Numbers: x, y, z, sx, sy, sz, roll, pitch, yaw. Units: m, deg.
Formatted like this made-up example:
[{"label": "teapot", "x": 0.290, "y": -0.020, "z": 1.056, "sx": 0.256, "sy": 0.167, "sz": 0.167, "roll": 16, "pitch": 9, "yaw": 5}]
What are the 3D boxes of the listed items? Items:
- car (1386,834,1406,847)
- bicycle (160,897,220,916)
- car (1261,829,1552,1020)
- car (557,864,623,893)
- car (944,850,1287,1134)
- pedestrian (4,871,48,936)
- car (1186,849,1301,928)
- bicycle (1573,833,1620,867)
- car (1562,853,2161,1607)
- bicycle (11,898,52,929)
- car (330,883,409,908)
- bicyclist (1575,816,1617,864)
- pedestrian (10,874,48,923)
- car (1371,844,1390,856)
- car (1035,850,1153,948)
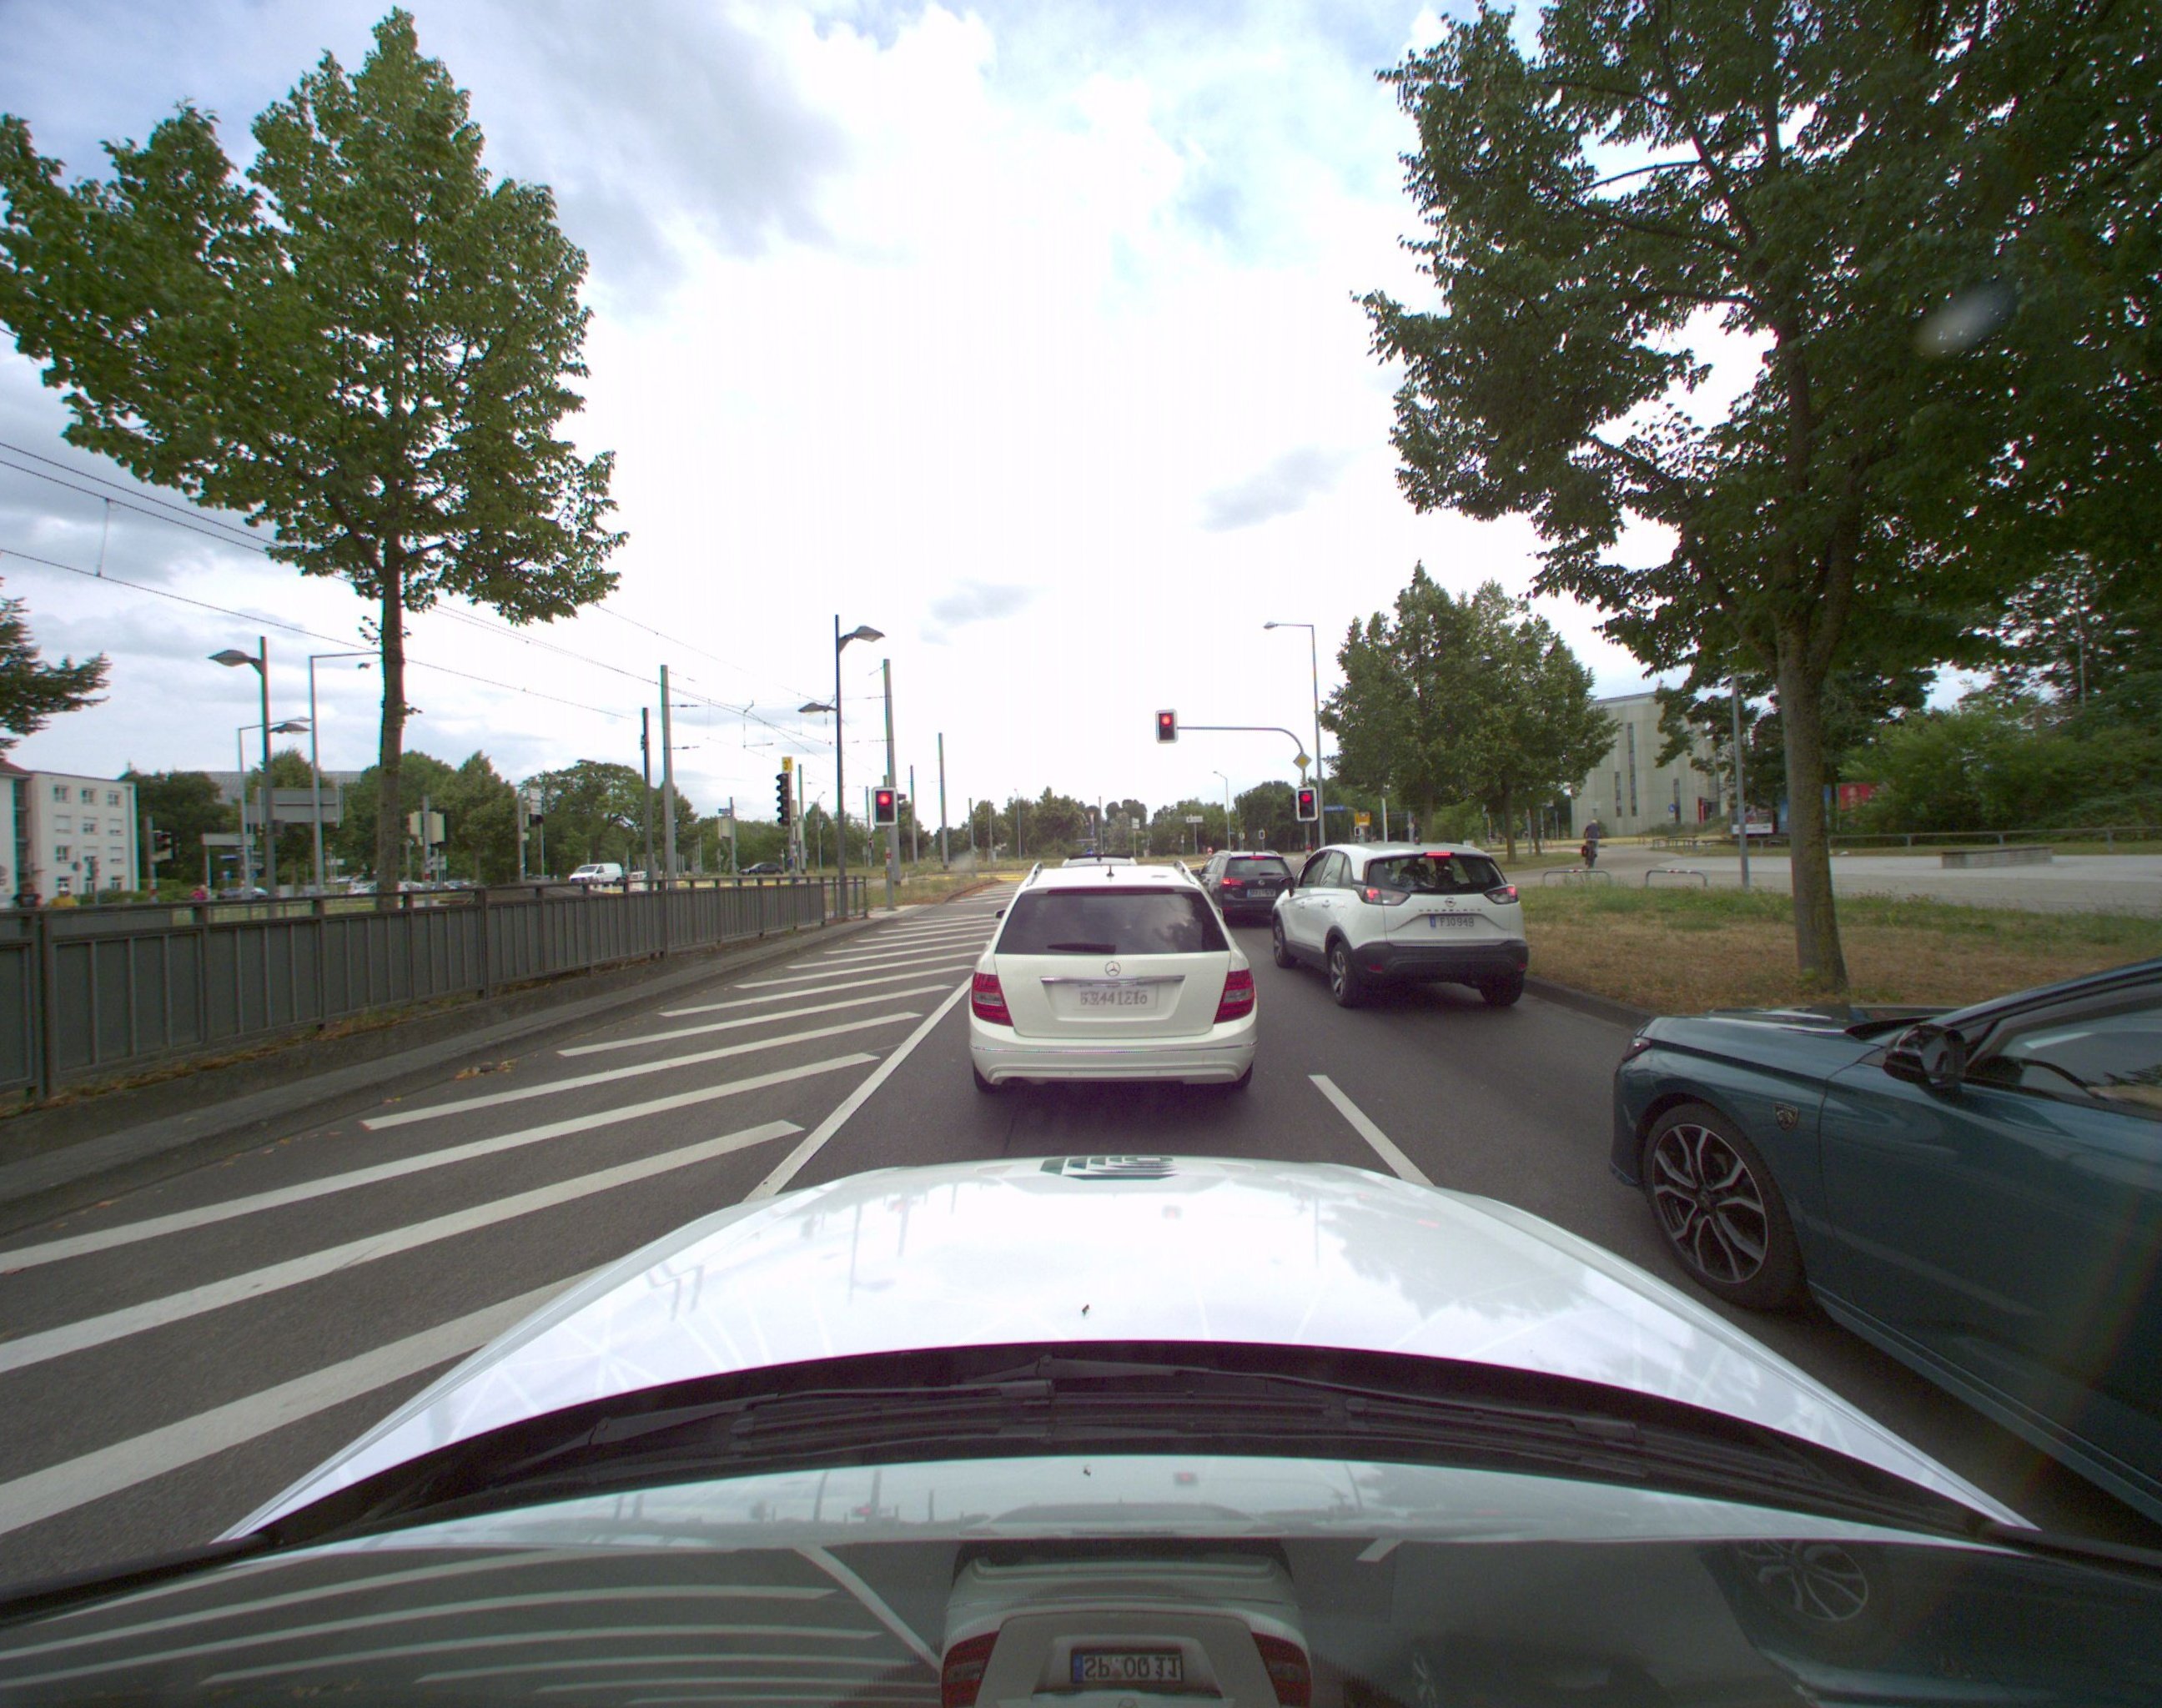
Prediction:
[{"label": "car", "x": 43.052, "y": -1.814, "z": 111.195, "sx": 1.766, "sy": 1.636, "sz": 4.430, "roll": -2, "pitch": 0, "yaw": 30}, {"label": "bicycle", "x": -60.912, "y": 3.595, "z": 55.684, "sx": 2.706, "sy": 1.129, "sz": 0.804, "roll": -2, "pitch": 0, "yaw": -17}, {"label": "car", "x": 3.306, "y": 0.612, "z": 9.152, "sx": 1.780, "sy": 1.624, "sz": 3.912, "roll": -2, "pitch": 0, "yaw": 2}, {"label": "car", "x": -38.339, "y": 1.907, "z": 63.812, "sx": 1.986, "sy": 2.013, "sz": 5.001, "roll": -2, "pitch": 0, "yaw": 1}, {"label": "car", "x": 0.182, "y": 0.709, "z": 6.193, "sx": 1.768, "sy": 1.448, "sz": 3.910, "roll": -1, "pitch": 0, "yaw": 0}, {"label": "pedestrian", "x": -30.940, "y": 1.446, "z": 23.881, "sx": 0.652, "sy": 1.850, "sz": 0.486, "roll": -2, "pitch": 0, "yaw": -39}, {"label": "car", "x": 3.295, "y": 0.634, "z": 17.192, "sx": 1.619, "sy": 1.448, "sz": 3.910, "roll": -1, "pitch": 0, "yaw": 0}, {"label": "bicycle", "x": 19.878, "y": -0.158, "z": 31.366, "sx": 2.280, "sy": 1.235, "sz": 0.894, "roll": -2, "pitch": 0, "yaw": -42}, {"label": "car", "x": 2.991, "y": 0.738, "z": 1.333, "sx": 1.782, "sy": 1.432, "sz": 4.308, "roll": -1, "pitch": 0, "yaw": -1}, {"label": "bicycle", "x": -44.818, "y": 2.516, "z": 34.804, "sx": 0.616, "sy": 1.136, "sz": 2.535, "roll": 1, "pitch": 0, "yaw": -42}, {"label": "car", "x": -52.525, "y": 3.007, "z": 60.188, "sx": 1.974, "sy": 1.641, "sz": 4.025, "roll": 0, "pitch": 0, "yaw": 33}, {"label": "bicyclist", "x": 19.852, "y": -0.542, "z": 31.387, "sx": 1.136, "sy": 1.737, "sz": 0.988, "roll": -5, "pitch": 0, "yaw": -42}, {"label": "pedestrian", "x": -44.888, "y": 1.883, "z": 34.760, "sx": 0.804, "sy": 2.013, "sz": 0.899, "roll": -2, "pitch": 0, "yaw": -43}, {"label": "car", "x": 44.748, "y": -0.612, "z": 121.601, "sx": 1.974, "sy": 1.791, "sz": 4.025, "roll": 0, "pitch": 0, "yaw": 32}, {"label": "car", "x": 0.205, "y": 0.673, "z": 14.271, "sx": 1.768, "sy": 1.448, "sz": 3.910, "roll": -1, "pitch": 0, "yaw": 0}]
